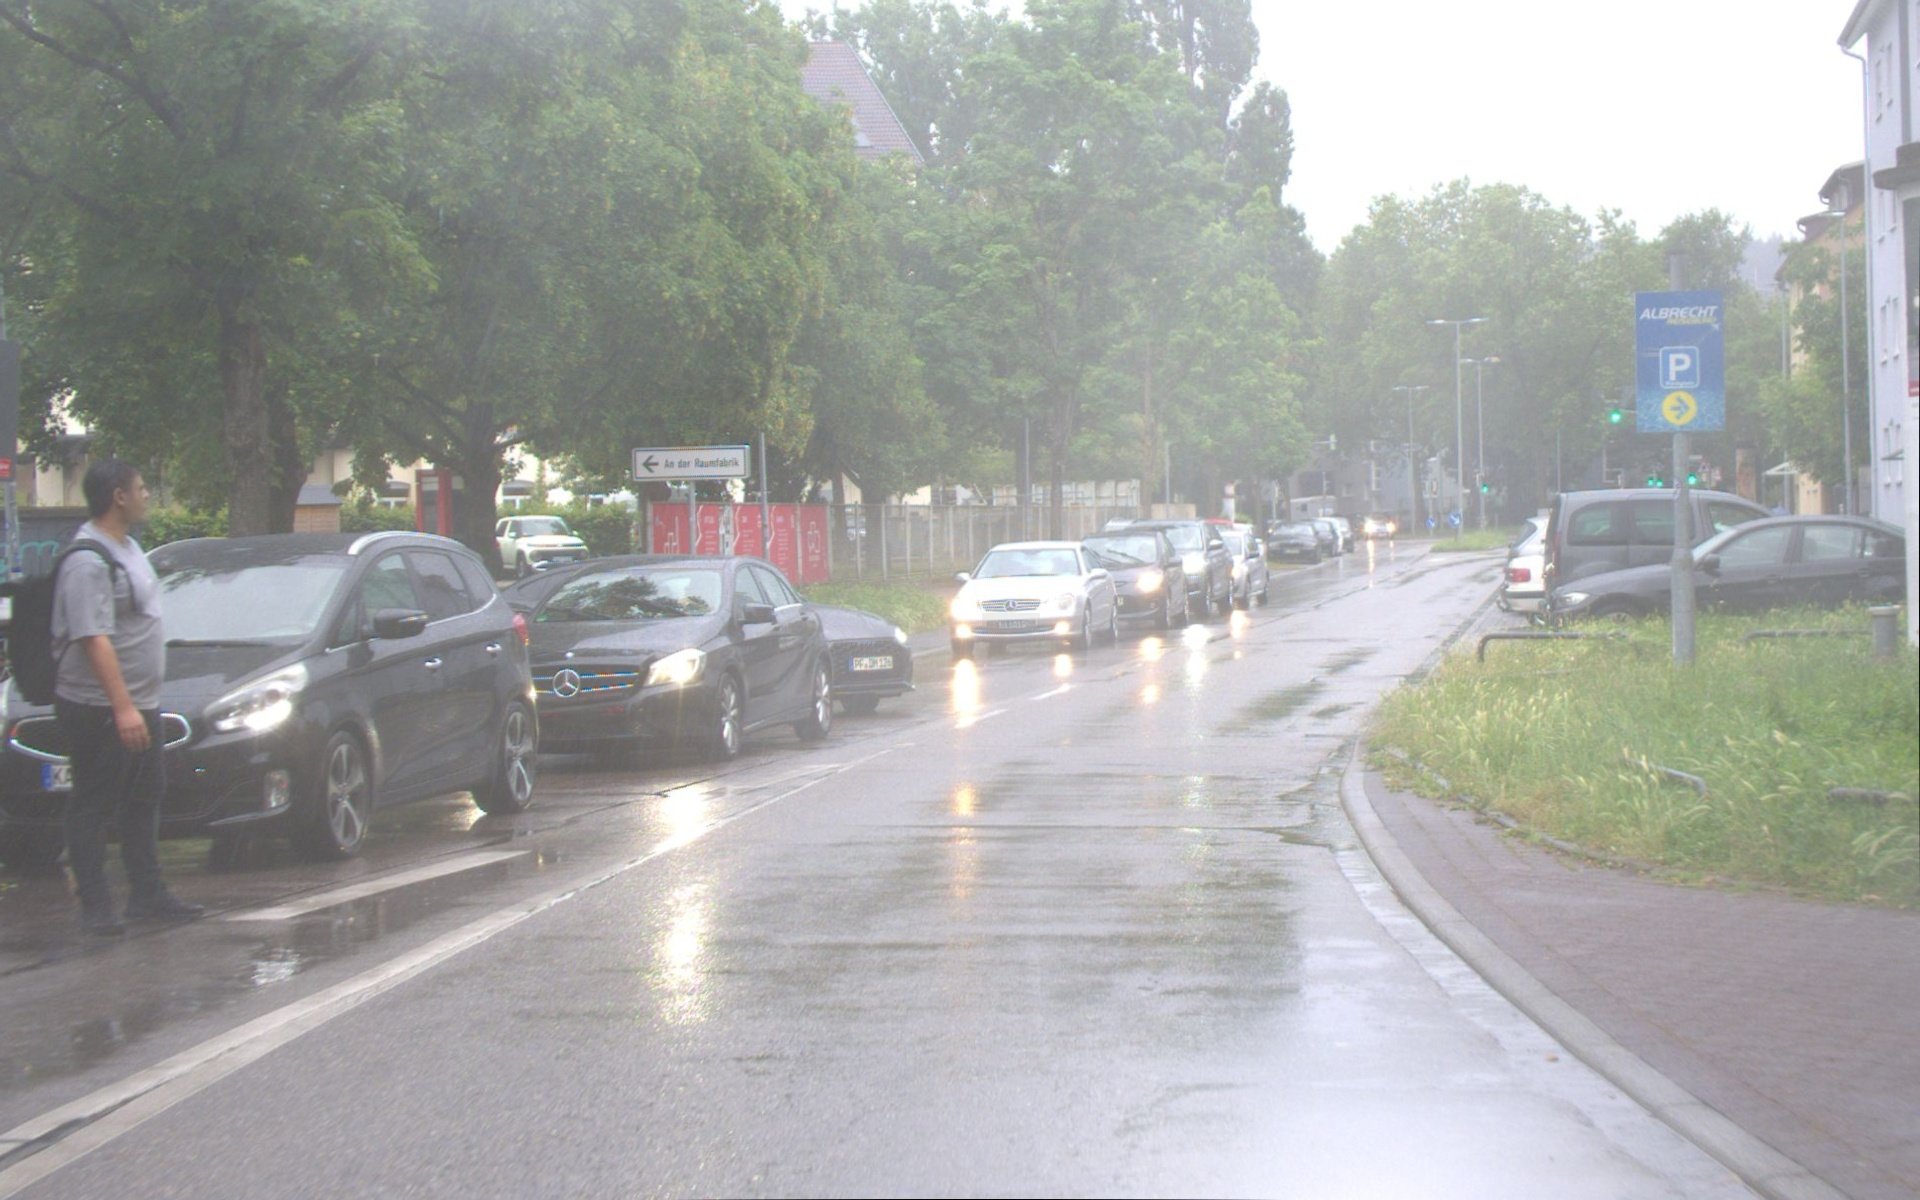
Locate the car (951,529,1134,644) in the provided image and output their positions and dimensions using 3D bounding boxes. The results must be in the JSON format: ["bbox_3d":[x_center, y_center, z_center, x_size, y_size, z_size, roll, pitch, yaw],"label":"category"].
[{"bbox_3d":[1.127,-0.208,44.509,1.775,1.398,4.829,0,1,9],"label":"car"}]

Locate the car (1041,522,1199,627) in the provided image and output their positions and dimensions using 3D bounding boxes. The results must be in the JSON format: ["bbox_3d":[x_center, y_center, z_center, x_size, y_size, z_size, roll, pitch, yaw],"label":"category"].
[{"bbox_3d":[2.447,-0.417,51.609,1.779,1.415,4.264,-1,2,10],"label":"car"}]

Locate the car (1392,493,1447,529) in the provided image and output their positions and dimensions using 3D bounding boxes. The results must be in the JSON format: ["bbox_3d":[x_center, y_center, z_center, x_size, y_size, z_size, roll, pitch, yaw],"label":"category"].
[{"bbox_3d":[26.187,-5.053,195.935,1.993,2.007,4.001,-1,2,-9],"label":"car"}]

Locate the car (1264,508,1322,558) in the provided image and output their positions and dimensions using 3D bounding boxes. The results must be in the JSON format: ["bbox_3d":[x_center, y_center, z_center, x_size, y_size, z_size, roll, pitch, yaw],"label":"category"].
[{"bbox_3d":[11.151,-2.258,115.349,1.775,1.524,4.000,0,3,3],"label":"car"}]

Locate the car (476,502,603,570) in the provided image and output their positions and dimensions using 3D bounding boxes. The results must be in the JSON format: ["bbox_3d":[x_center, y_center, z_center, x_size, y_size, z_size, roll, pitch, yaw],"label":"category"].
[{"bbox_3d":[-10.176,-1.523,83.016,1.844,1.567,4.001,-1,0,-25],"label":"car"}]

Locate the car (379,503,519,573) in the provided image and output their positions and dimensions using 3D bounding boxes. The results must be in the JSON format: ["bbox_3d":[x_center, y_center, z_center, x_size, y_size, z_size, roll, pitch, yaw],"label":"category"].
[{"bbox_3d":[-12.208,-1.471,81.961,1.993,1.552,4.000,-2,1,-29],"label":"car"}]

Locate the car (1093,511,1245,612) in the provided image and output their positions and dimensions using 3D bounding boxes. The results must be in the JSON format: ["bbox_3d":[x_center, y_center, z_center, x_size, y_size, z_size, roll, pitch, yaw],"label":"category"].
[{"bbox_3d":[3.588,-0.681,58.351,1.915,1.634,4.819,0,1,11],"label":"car"}]

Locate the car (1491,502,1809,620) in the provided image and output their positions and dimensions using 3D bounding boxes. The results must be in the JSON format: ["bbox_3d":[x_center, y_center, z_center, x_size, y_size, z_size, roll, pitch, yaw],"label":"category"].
[{"bbox_3d":[9.377,-0.535,46.982,4.183,1.566,1.890,0,1,9],"label":"car"}]

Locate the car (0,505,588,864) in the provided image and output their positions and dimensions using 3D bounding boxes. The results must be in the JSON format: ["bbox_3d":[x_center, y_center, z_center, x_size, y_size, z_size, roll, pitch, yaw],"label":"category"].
[{"bbox_3d":[-3.583,0.402,18.084,1.868,1.614,4.800,-1,0,11],"label":"car"}]

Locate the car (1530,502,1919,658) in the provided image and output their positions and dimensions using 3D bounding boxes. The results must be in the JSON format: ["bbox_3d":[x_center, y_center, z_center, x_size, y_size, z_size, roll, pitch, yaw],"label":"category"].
[{"bbox_3d":[8.202,-0.224,35.401,4.535,1.465,1.982,-1,1,10],"label":"car"}]

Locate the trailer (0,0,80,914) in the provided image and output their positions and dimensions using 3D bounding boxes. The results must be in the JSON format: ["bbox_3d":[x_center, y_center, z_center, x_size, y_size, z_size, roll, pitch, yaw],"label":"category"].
[{"bbox_3d":[-6.442,-0.622,5.980,3.443,4.035,15.045,-1,2,10],"label":"trailer"}]

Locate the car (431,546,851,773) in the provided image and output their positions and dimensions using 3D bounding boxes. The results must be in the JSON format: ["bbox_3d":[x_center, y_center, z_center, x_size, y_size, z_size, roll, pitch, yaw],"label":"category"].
[{"bbox_3d":[-2.142,0.356,24.382,1.727,1.356,4.335,-2,1,12],"label":"car"}]

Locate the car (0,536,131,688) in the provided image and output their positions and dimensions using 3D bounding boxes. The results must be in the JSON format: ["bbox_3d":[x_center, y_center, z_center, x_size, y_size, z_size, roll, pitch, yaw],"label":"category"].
[{"bbox_3d":[-10.056,0.099,32.032,4.324,1.390,2.013,0,1,-20],"label":"car"}]

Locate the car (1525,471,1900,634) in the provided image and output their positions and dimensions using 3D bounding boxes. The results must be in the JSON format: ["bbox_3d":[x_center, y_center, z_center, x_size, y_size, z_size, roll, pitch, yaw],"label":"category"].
[{"bbox_3d":[9.076,-0.578,41.786,4.233,1.799,1.944,-2,1,7],"label":"car"}]

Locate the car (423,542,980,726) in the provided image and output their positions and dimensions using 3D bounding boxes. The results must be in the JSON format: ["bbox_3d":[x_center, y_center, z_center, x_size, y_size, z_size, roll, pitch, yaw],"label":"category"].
[{"bbox_3d":[-2.361,0.269,30.453,4.924,1.449,2.081,0,2,43],"label":"car"}]

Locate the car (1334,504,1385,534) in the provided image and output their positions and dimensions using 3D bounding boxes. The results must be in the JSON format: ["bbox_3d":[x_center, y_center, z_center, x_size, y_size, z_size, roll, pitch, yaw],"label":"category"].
[{"bbox_3d":[22.804,-4.615,196.486,1.740,1.683,4.001,-1,1,-11],"label":"car"}]

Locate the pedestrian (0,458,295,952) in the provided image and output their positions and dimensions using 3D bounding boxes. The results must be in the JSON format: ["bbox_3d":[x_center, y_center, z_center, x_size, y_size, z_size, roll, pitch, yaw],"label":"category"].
[{"bbox_3d":[-3.289,0.381,13.510,0.869,1.837,0.991,-3,2,-45],"label":"pedestrian"}]

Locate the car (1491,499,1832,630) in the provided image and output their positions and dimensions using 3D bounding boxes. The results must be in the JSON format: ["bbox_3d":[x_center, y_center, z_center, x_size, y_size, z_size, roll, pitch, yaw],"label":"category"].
[{"bbox_3d":[8.999,-0.462,44.397,4.191,1.563,1.888,-1,1,9],"label":"car"}]
